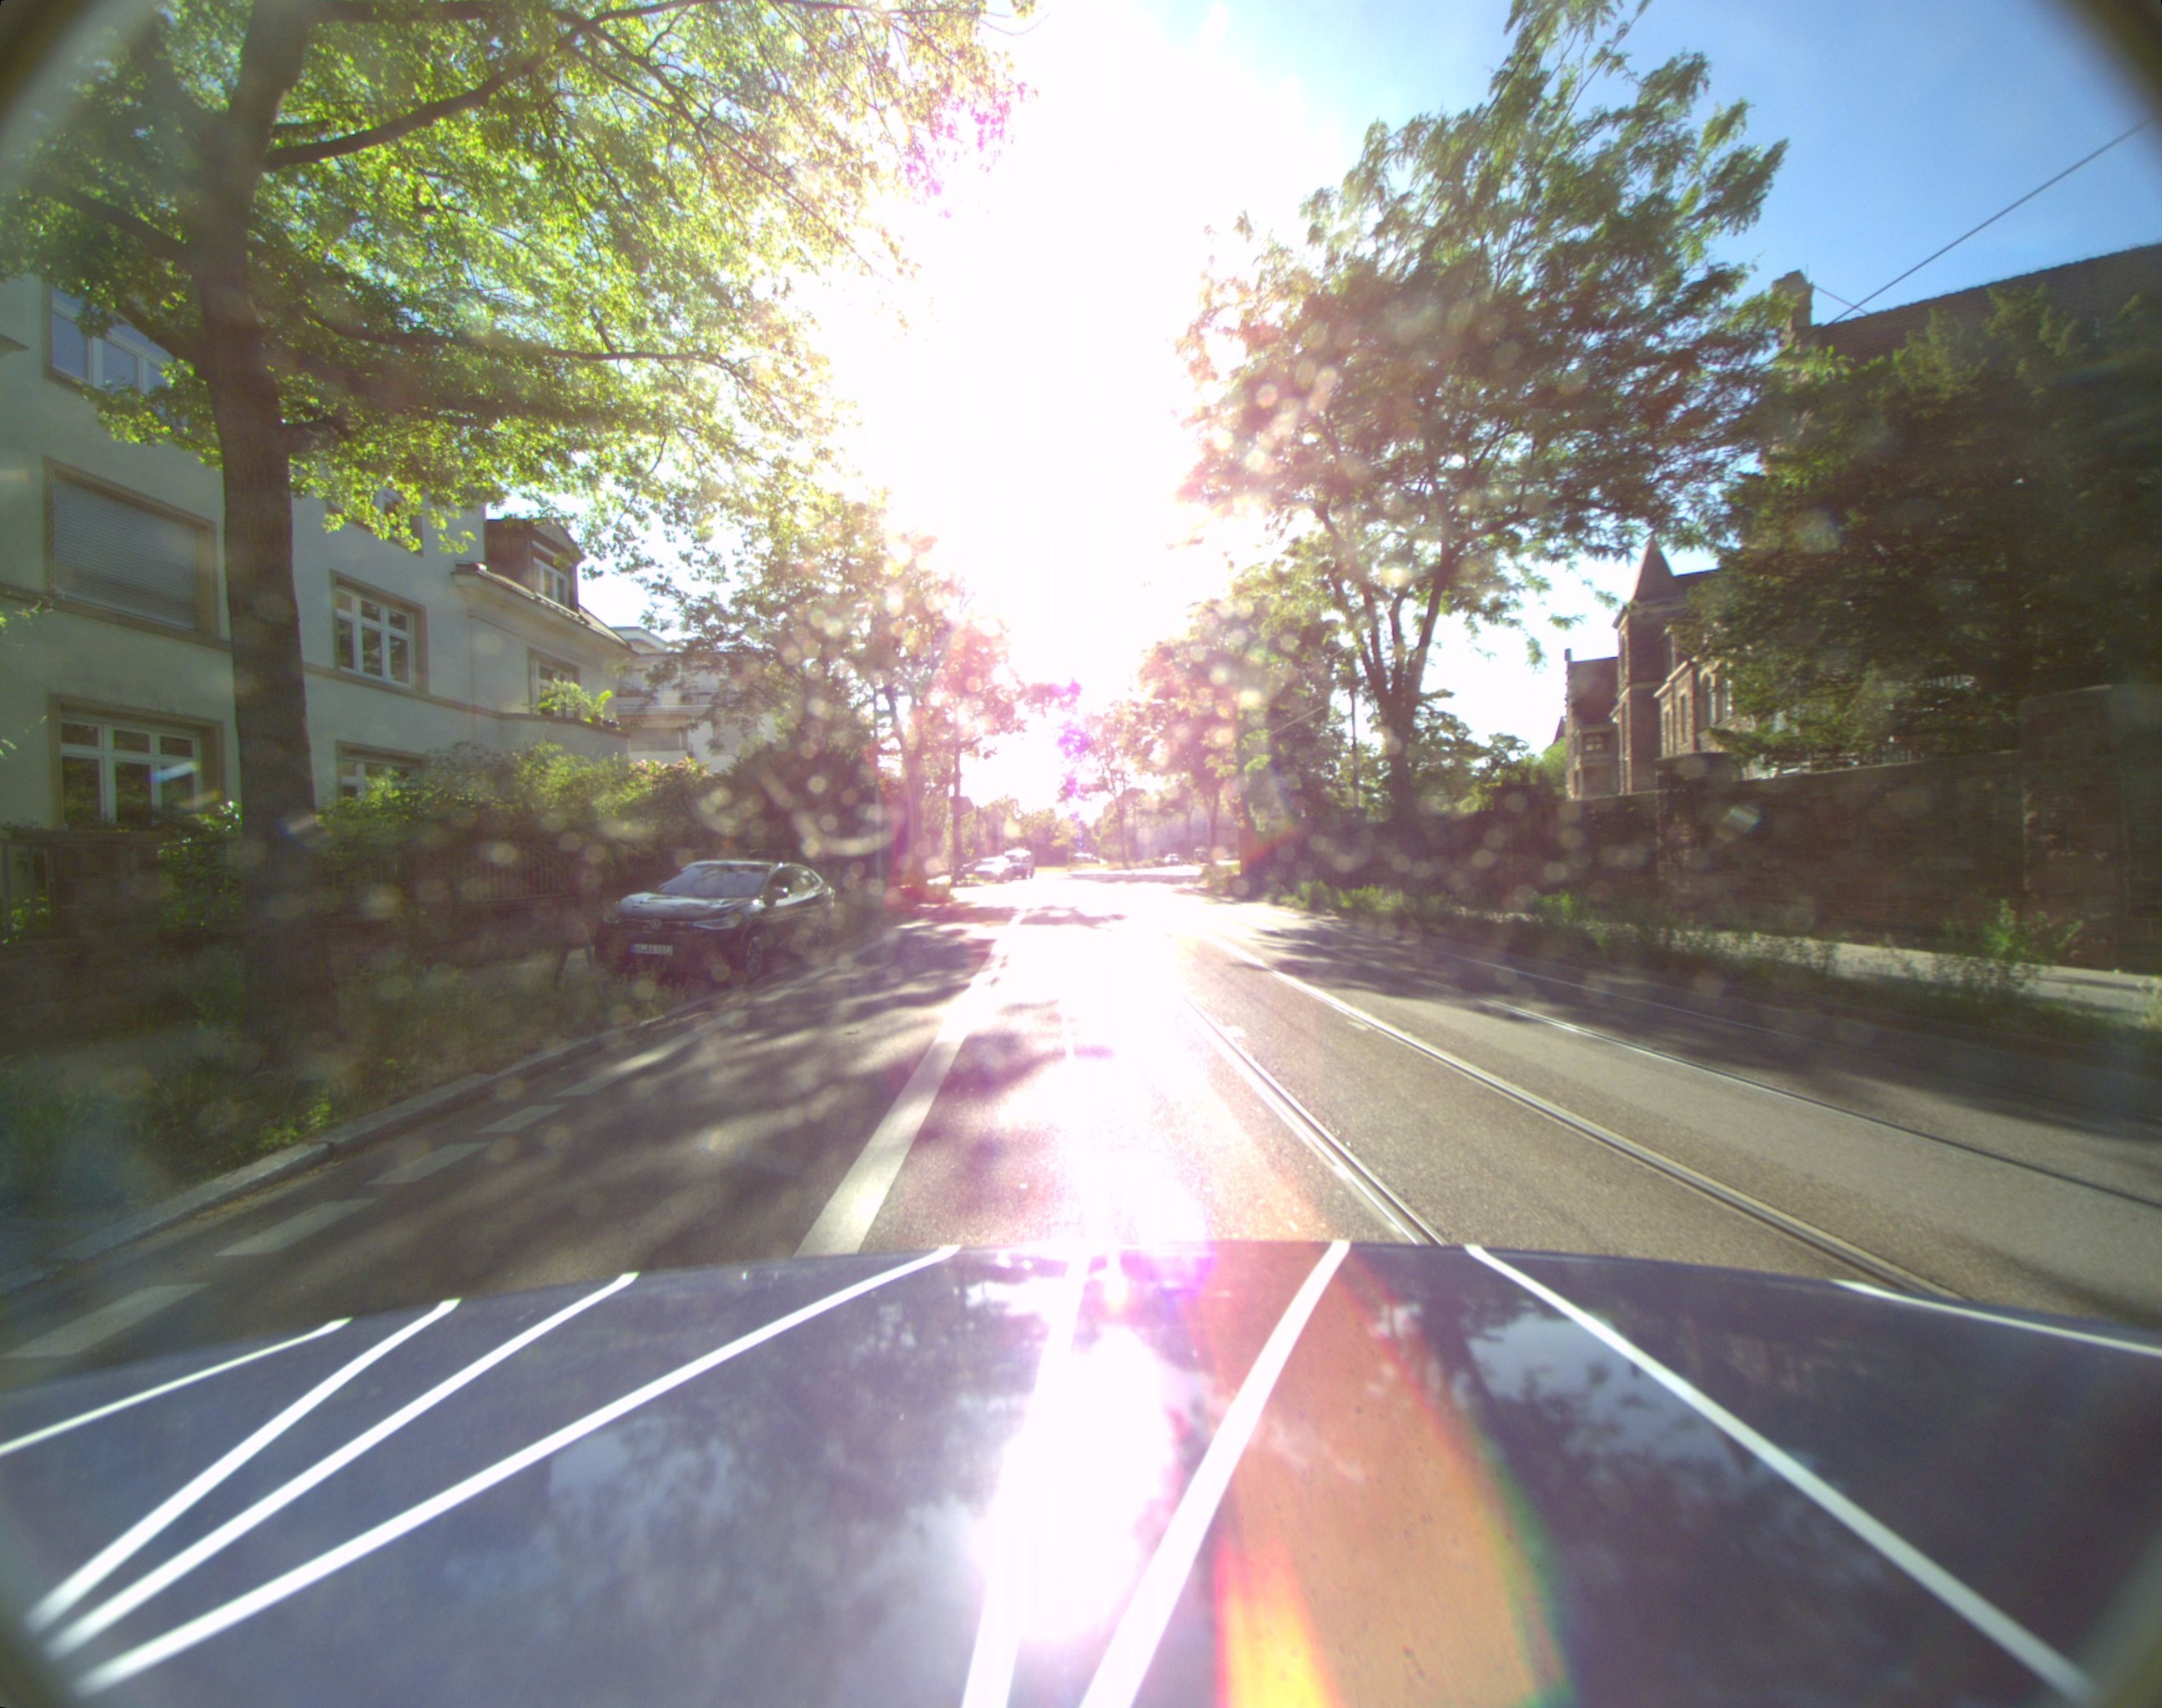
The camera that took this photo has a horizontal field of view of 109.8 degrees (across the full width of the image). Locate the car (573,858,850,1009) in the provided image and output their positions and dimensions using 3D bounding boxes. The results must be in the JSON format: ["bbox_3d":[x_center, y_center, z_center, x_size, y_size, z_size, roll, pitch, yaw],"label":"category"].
[{"bbox_3d":[-5.115,0.967,11.400,1.809,1.684,4.728,2,0,0],"label":"car"}]

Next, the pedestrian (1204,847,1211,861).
[{"bbox_3d":[17.966,0.002,108.160,0.878,1.854,1.021,-1,1,12],"label":"pedestrian"}]

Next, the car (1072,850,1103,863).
[{"bbox_3d":[1.118,0.406,128.585,5.209,1.874,2.100,-2,0,1],"label":"car"}]

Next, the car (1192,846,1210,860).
[{"bbox_3d":[18.442,-0.121,116.237,1.996,2.083,4.722,-1,0,17],"label":"car"}]

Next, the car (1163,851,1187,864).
[{"bbox_3d":[12.282,0.396,98.960,2.002,1.457,5.439,2,2,18],"label":"car"}]

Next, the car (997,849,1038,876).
[{"bbox_3d":[-4.232,0.549,51.292,2.027,1.736,4.753,-1,0,4],"label":"car"}]

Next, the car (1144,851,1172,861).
[{"bbox_3d":[13.013,0.382,128.648,4.459,1.482,2.008,-1,4,1],"label":"car"}]

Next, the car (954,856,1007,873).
[{"bbox_3d":[-9.150,0.954,69.405,4.521,1.361,1.969,-1,1,1],"label":"car"}]

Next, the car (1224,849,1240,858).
[{"bbox_3d":[28.814,-0.082,145.058,1.739,1.487,4.538,-1,0,28],"label":"car"}]

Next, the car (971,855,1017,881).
[{"bbox_3d":[-5.105,0.803,45.349,1.998,1.415,4.333,-1,1,3],"label":"car"}]
